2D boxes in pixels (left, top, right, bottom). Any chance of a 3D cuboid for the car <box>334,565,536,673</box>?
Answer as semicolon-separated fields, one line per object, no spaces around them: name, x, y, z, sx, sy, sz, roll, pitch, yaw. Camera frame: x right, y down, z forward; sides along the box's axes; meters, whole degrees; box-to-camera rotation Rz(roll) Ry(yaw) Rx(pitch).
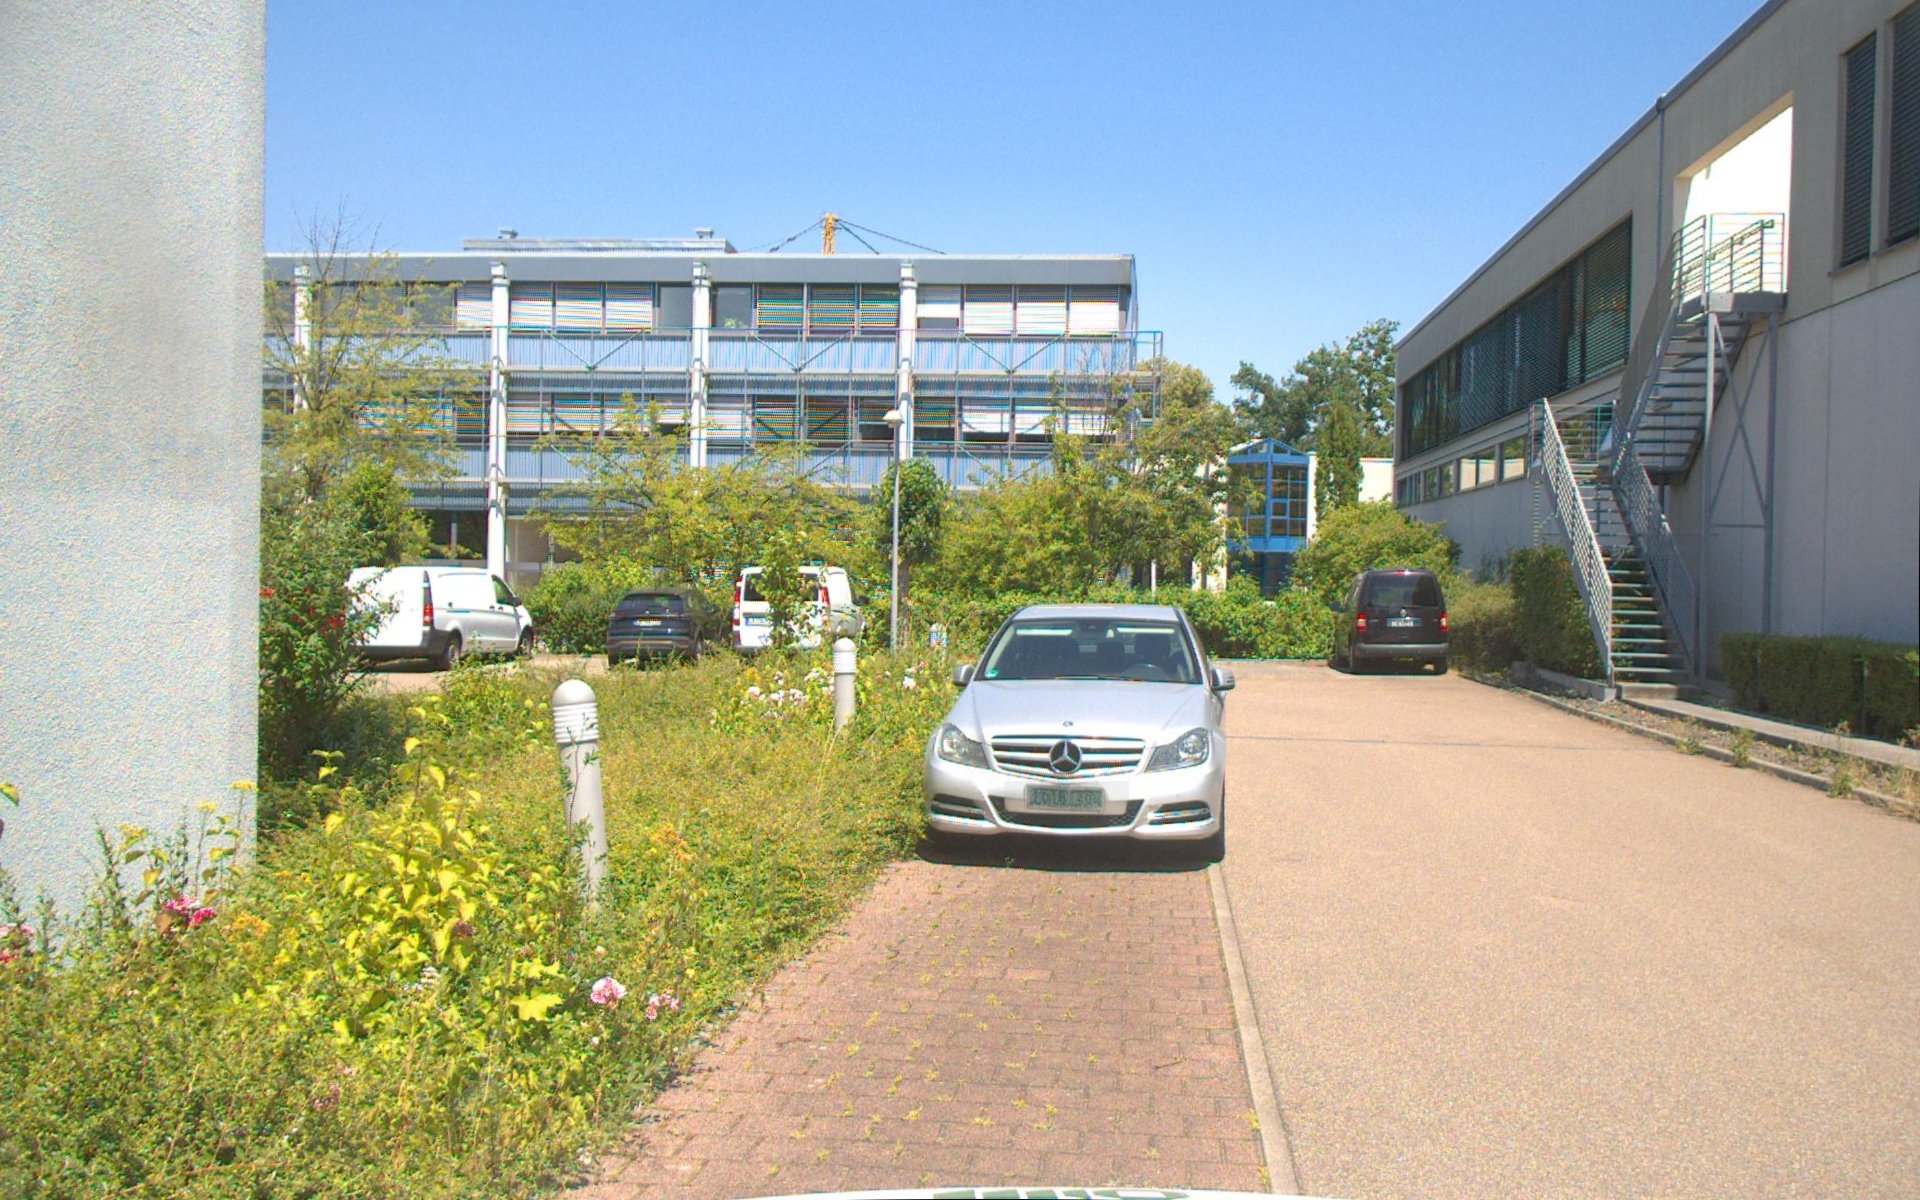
car;-10.039;0.282;32.053;1.841;1.924;4.808;0;1;8

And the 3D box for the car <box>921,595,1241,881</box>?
car;0.956;0.719;10.831;1.692;1.482;4.151;0;0;9

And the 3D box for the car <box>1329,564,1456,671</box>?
car;8.013;0.286;30.944;1.706;1.869;4.003;0;1;6

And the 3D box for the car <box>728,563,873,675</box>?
car;-2.908;0.287;31.246;1.872;1.938;4.811;0;1;5

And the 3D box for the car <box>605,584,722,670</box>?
car;-5.686;0.473;32.147;1.719;1.502;3.998;0;1;-3

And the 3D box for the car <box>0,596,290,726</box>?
car;-10.961;0.725;22.117;1.818;1.498;4.487;0;1;6
